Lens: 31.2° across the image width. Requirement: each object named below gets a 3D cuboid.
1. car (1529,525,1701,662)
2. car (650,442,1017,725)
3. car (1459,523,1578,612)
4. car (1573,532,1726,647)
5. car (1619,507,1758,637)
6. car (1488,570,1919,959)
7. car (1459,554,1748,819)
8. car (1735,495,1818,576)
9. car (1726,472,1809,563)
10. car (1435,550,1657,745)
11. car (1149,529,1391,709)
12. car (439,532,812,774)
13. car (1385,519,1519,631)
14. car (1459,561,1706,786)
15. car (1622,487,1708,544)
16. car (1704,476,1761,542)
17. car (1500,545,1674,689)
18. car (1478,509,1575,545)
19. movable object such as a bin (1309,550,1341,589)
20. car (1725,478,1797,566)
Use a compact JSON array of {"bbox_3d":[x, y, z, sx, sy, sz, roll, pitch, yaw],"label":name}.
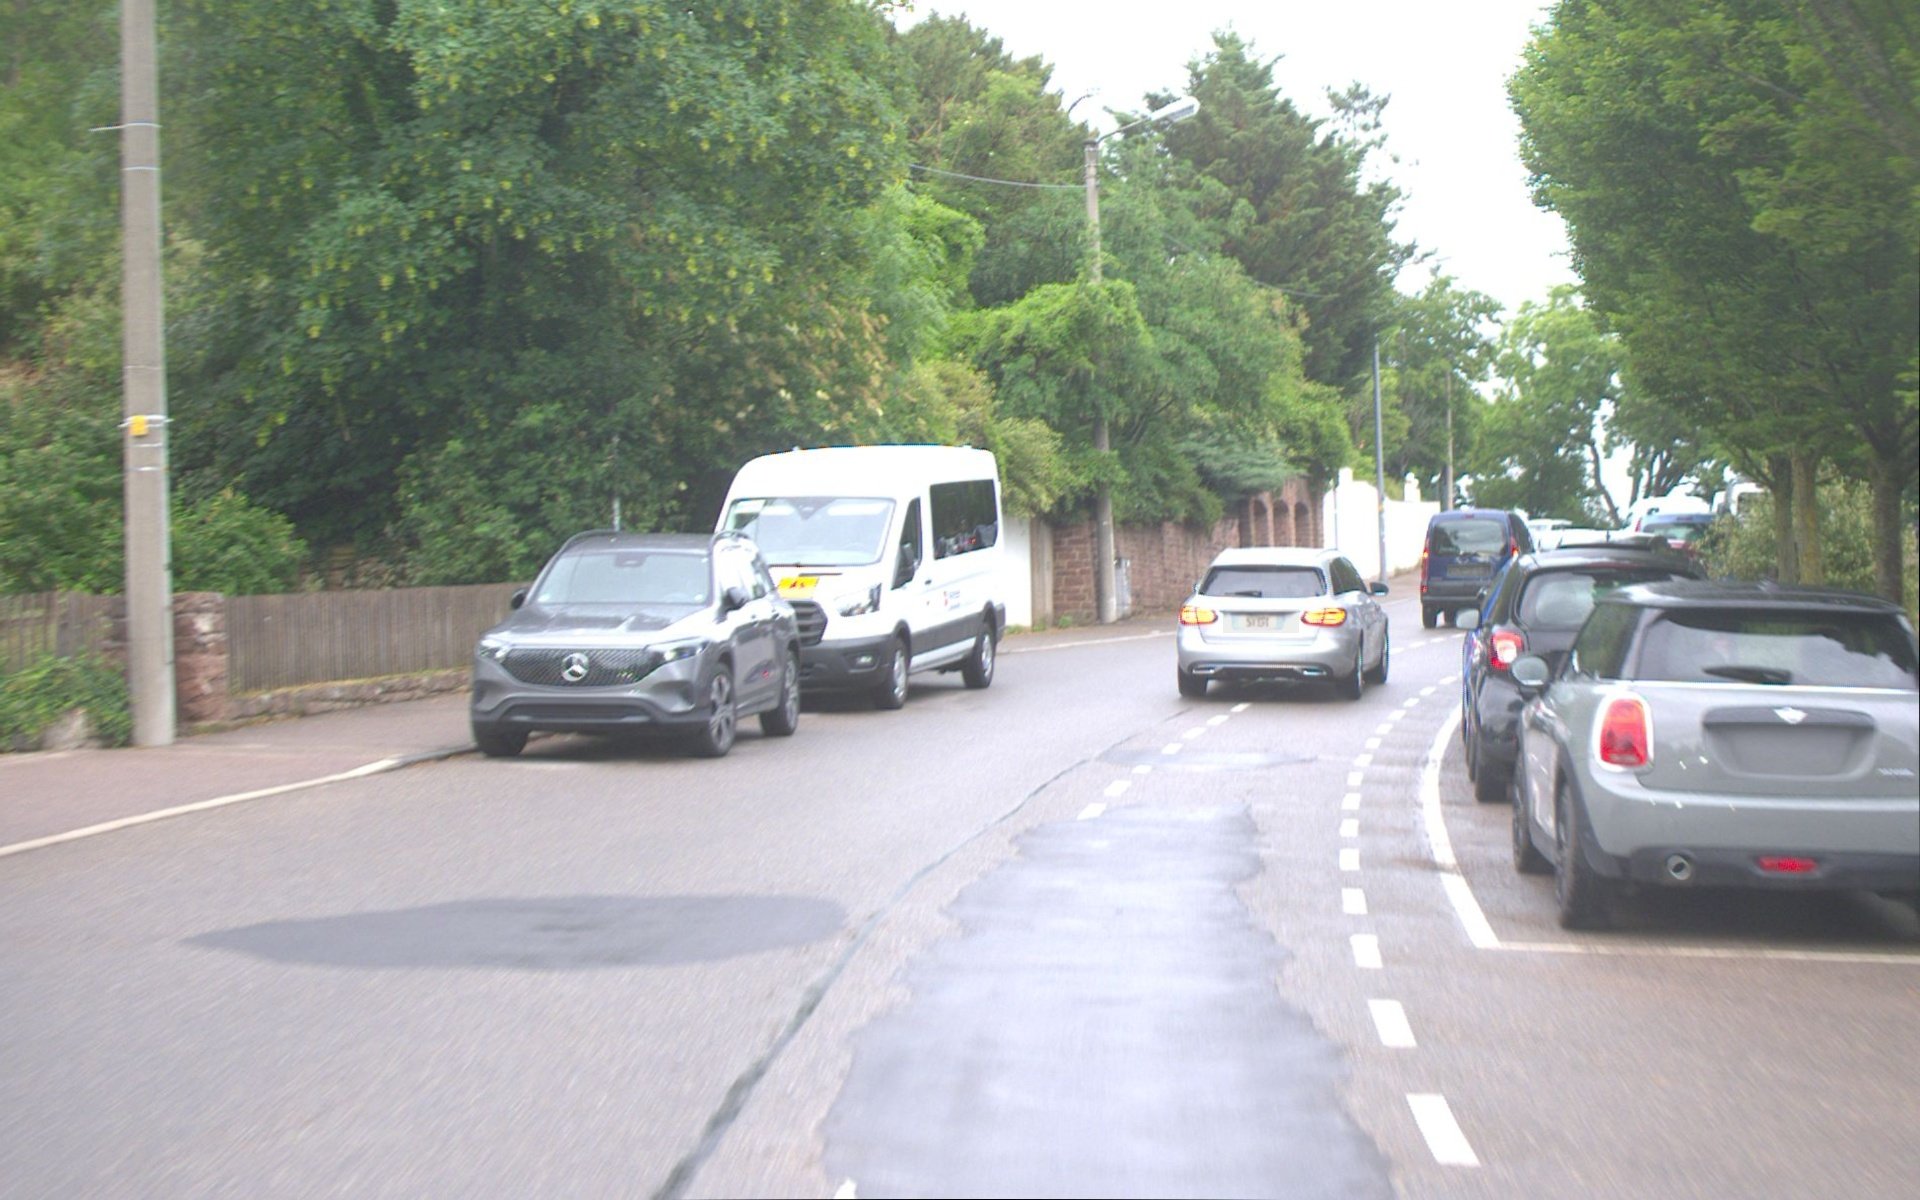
[{"bbox_3d":[8.123,-0.125,42.405,1.715,1.550,4.161,2,2,15],"label":"car"},{"bbox_3d":[-1.113,-0.226,34.226,2.095,2.541,6.094,-1,1,13],"label":"car"},{"bbox_3d":[11.123,-0.648,68.260,1.995,1.702,3.997,0,1,14],"label":"car"},{"bbox_3d":[9.516,-0.183,47.269,1.650,1.476,4.016,1,2,17],"label":"car"},{"bbox_3d":[11.089,-0.470,52.140,1.779,1.845,4.422,1,2,16],"label":"car"},{"bbox_3d":[3.319,0.628,15.313,1.669,1.466,3.709,1,1,6],"label":"car"},{"bbox_3d":[4.052,0.493,22.019,1.627,1.557,3.021,1,1,7],"label":"car"},{"bbox_3d":[21.368,-1.703,90.098,1.994,2.045,5.119,0,1,12],"label":"car"},{"bbox_3d":[22.875,-2.359,97.569,2.175,2.484,6.031,1,2,13],"label":"car"},{"bbox_3d":[5.349,0.358,30.961,1.777,1.547,4.726,1,1,12],"label":"car"},{"bbox_3d":[3.194,0.157,34.642,2.026,1.702,4.213,0,0,11],"label":"car"},{"bbox_3d":[-2.482,0.341,26.687,1.896,1.685,4.544,-1,1,7],"label":"car"},{"bbox_3d":[7.781,-0.405,54.668,1.994,1.702,3.999,0,0,7],"label":"car"},{"bbox_3d":[4.621,0.485,25.921,1.654,1.514,3.999,1,1,8],"label":"car"},{"bbox_3d":[31.759,-3.840,155.018,2.125,2.518,4.498,0,2,-12],"label":"car"},{"bbox_3d":[29.575,-3.493,131.717,2.065,2.486,4.757,1,2,12],"label":"car"},{"bbox_3d":[6.900,0.135,37.586,1.644,1.419,4.285,2,2,13],"label":"car"},{"bbox_3d":[27.394,-3.550,166.425,1.964,1.692,4.496,-1,2,-37],"label":"car"},{"bbox_3d":[8.739,-0.724,82.326,0.659,0.916,0.677,-1,1,15],"label":"movable object such as a bin"},{"bbox_3d":[27.056,-2.673,116.285,2.125,2.877,5.767,1,2,11],"label":"car"}]
